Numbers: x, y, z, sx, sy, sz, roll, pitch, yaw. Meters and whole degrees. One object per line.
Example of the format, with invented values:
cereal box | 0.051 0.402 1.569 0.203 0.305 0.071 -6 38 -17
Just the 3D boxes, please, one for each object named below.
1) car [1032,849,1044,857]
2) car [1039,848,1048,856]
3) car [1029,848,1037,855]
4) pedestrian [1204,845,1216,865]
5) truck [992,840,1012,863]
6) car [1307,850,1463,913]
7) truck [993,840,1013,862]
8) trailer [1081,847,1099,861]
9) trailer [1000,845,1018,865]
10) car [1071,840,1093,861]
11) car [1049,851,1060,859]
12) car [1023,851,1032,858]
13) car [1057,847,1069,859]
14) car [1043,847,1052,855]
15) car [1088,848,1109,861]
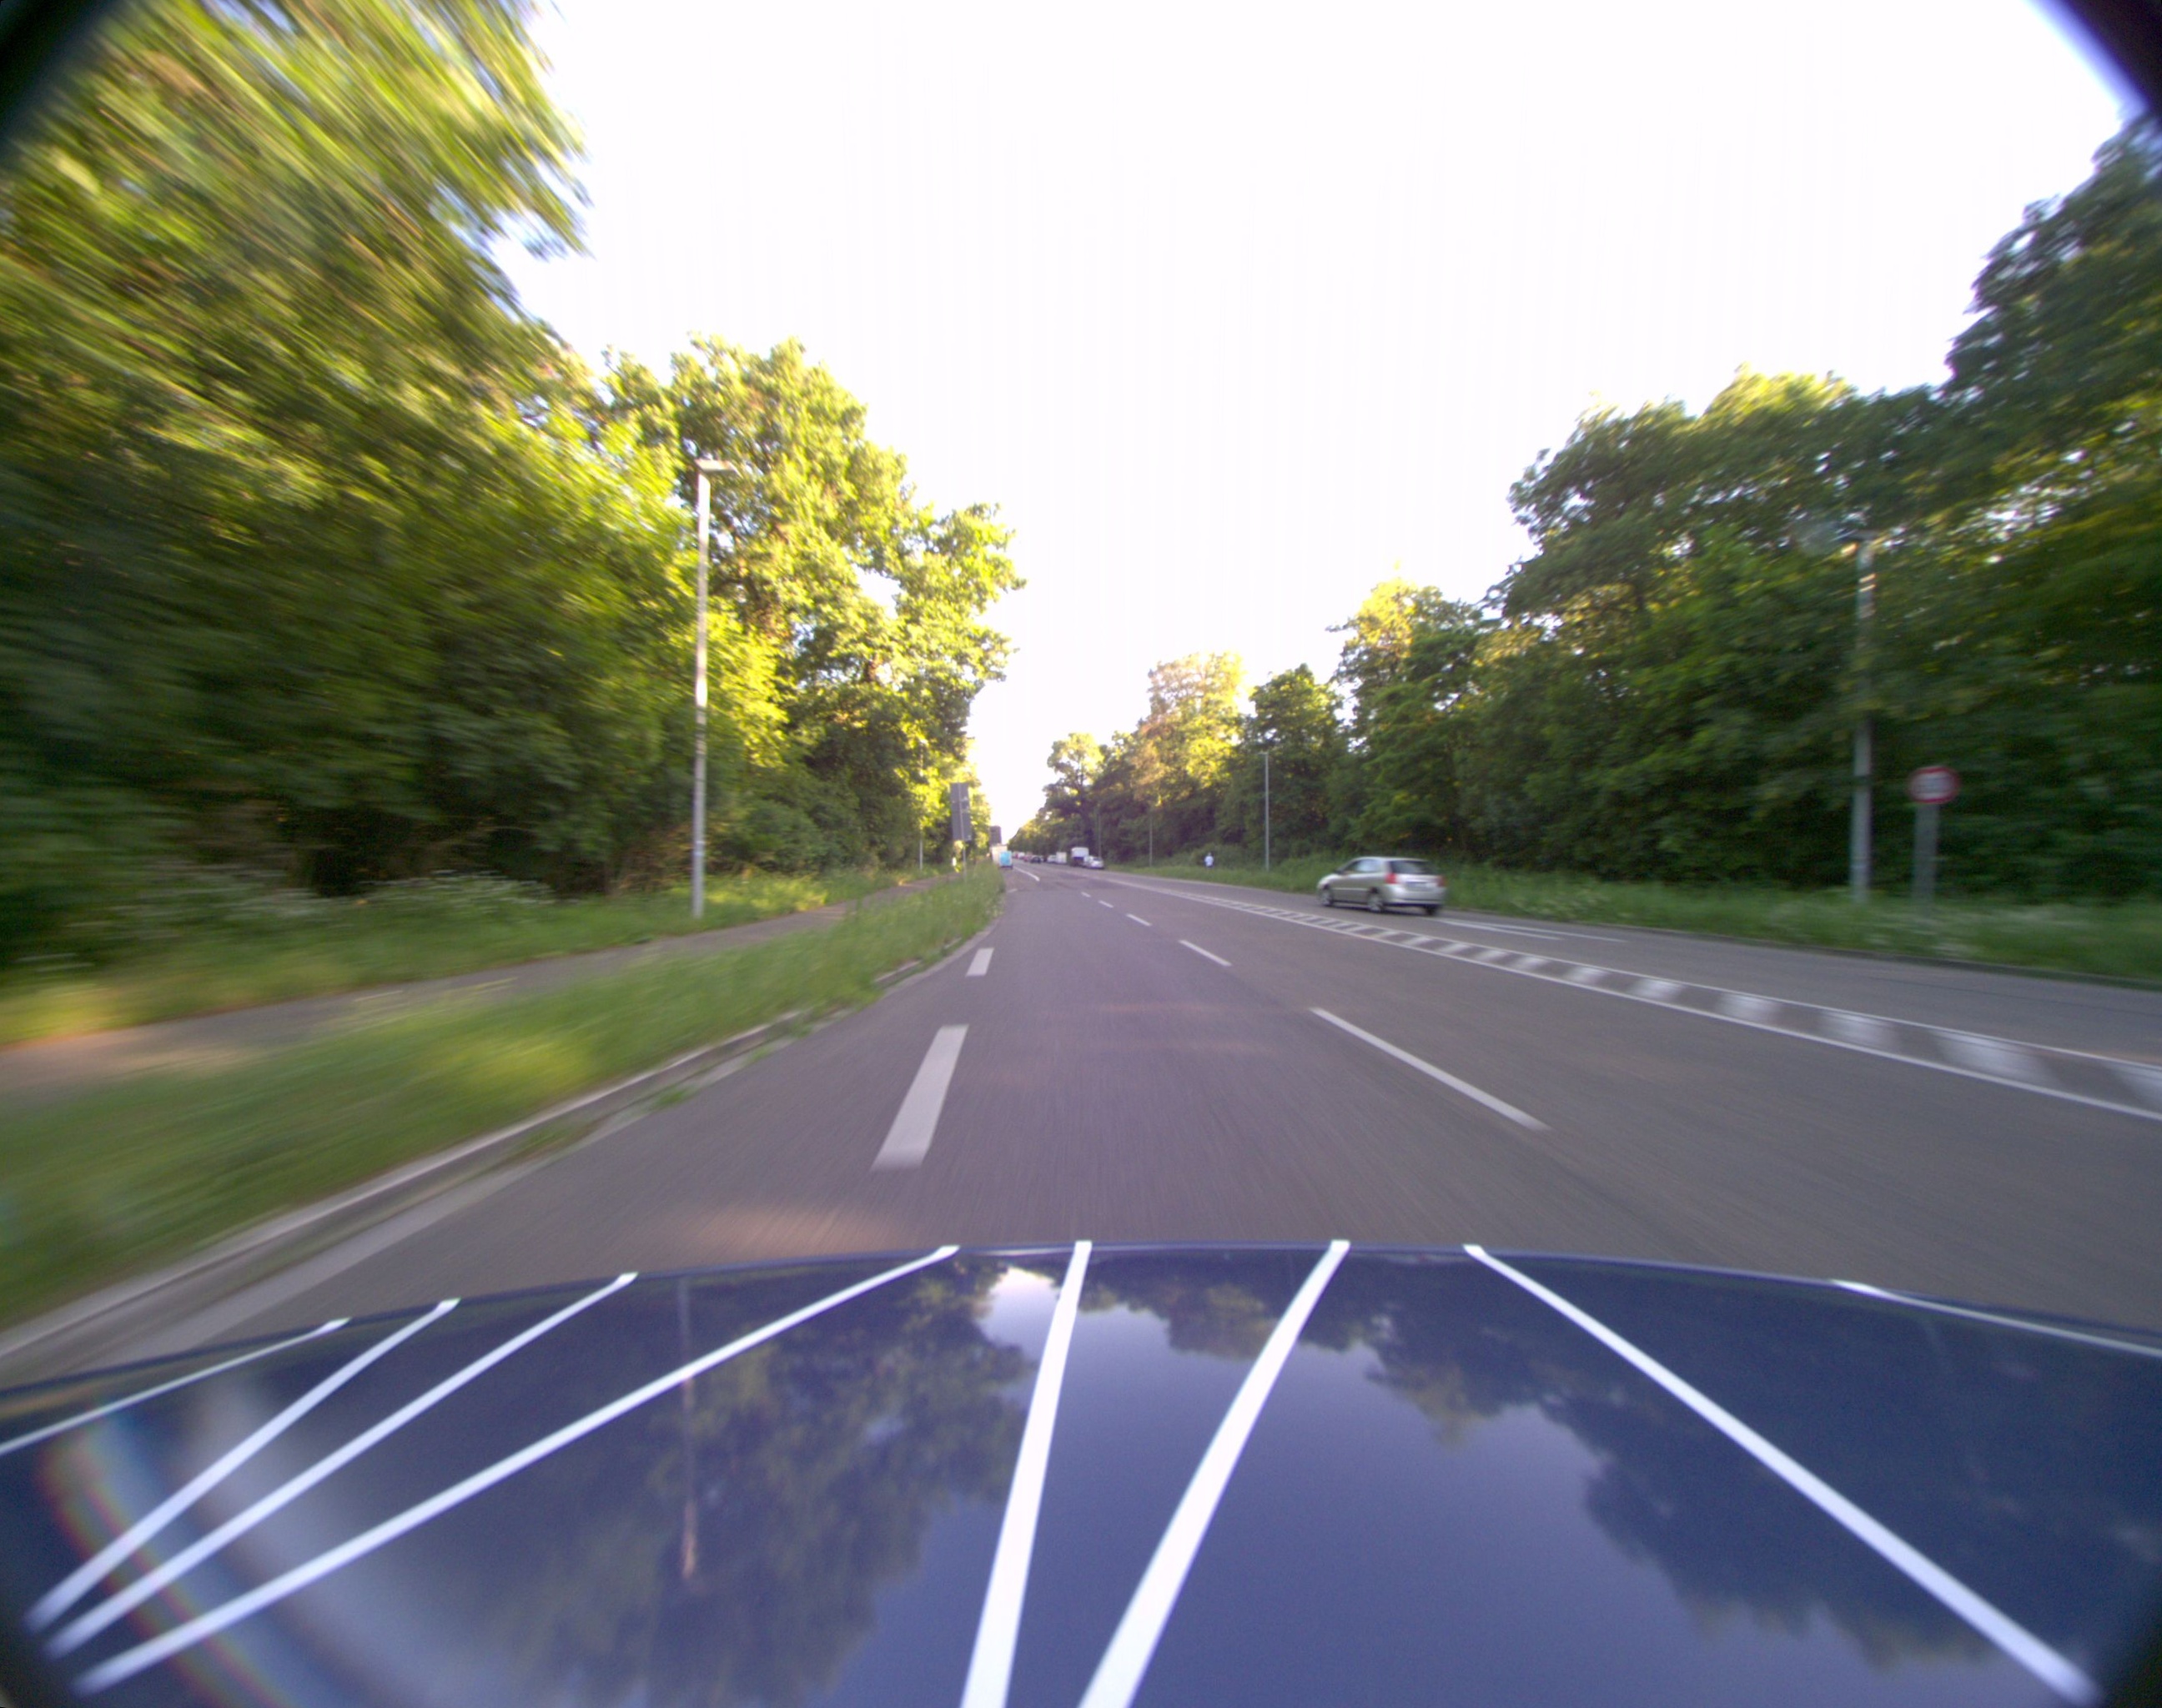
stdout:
car | -8.005 -0.230 141.879 1.916 1.455 4.354 1 1 -8
car | -8.865 -0.485 179.552 2.000 2.002 3.997 -1 1 -7
car | -15.587 -0.856 245.513 2.000 2.002 3.996 -1 1 -9
pedestrian | 10.232 0.093 60.158 0.713 1.556 0.825 0 1 -4
truck | -11.753 -0.433 112.945 2.707 3.219 7.122 1 1 -8
car | 7.985 0.648 20.472 1.835 1.447 4.476 2 0 -9
truck | -10.553 -0.440 102.823 2.391 2.856 5.594 -3 1 -7
trailer | 1.144 -0.053 95.884 1.807 1.719 3.644 1 1 -8
trailer | -8.364 0.035 87.542 1.870 2.165 4.125 -2 1 -7
car | 0.102 -0.505 108.258 2.462 2.831 4.795 1 1 -8
car | -5.394 0.162 152.264 1.807 1.496 3.909 1 1 -8
car | -11.854 -0.007 168.470 1.807 1.456 3.909 1 1 -8
car | -3.341 -0.165 139.865 1.692 2.089 4.628 1 1 -8
car | -7.430 -0.670 167.965 1.807 1.496 3.909 1 1 -8
car | 2.089 0.017 90.869 1.916 1.456 4.008 1 1 -8
